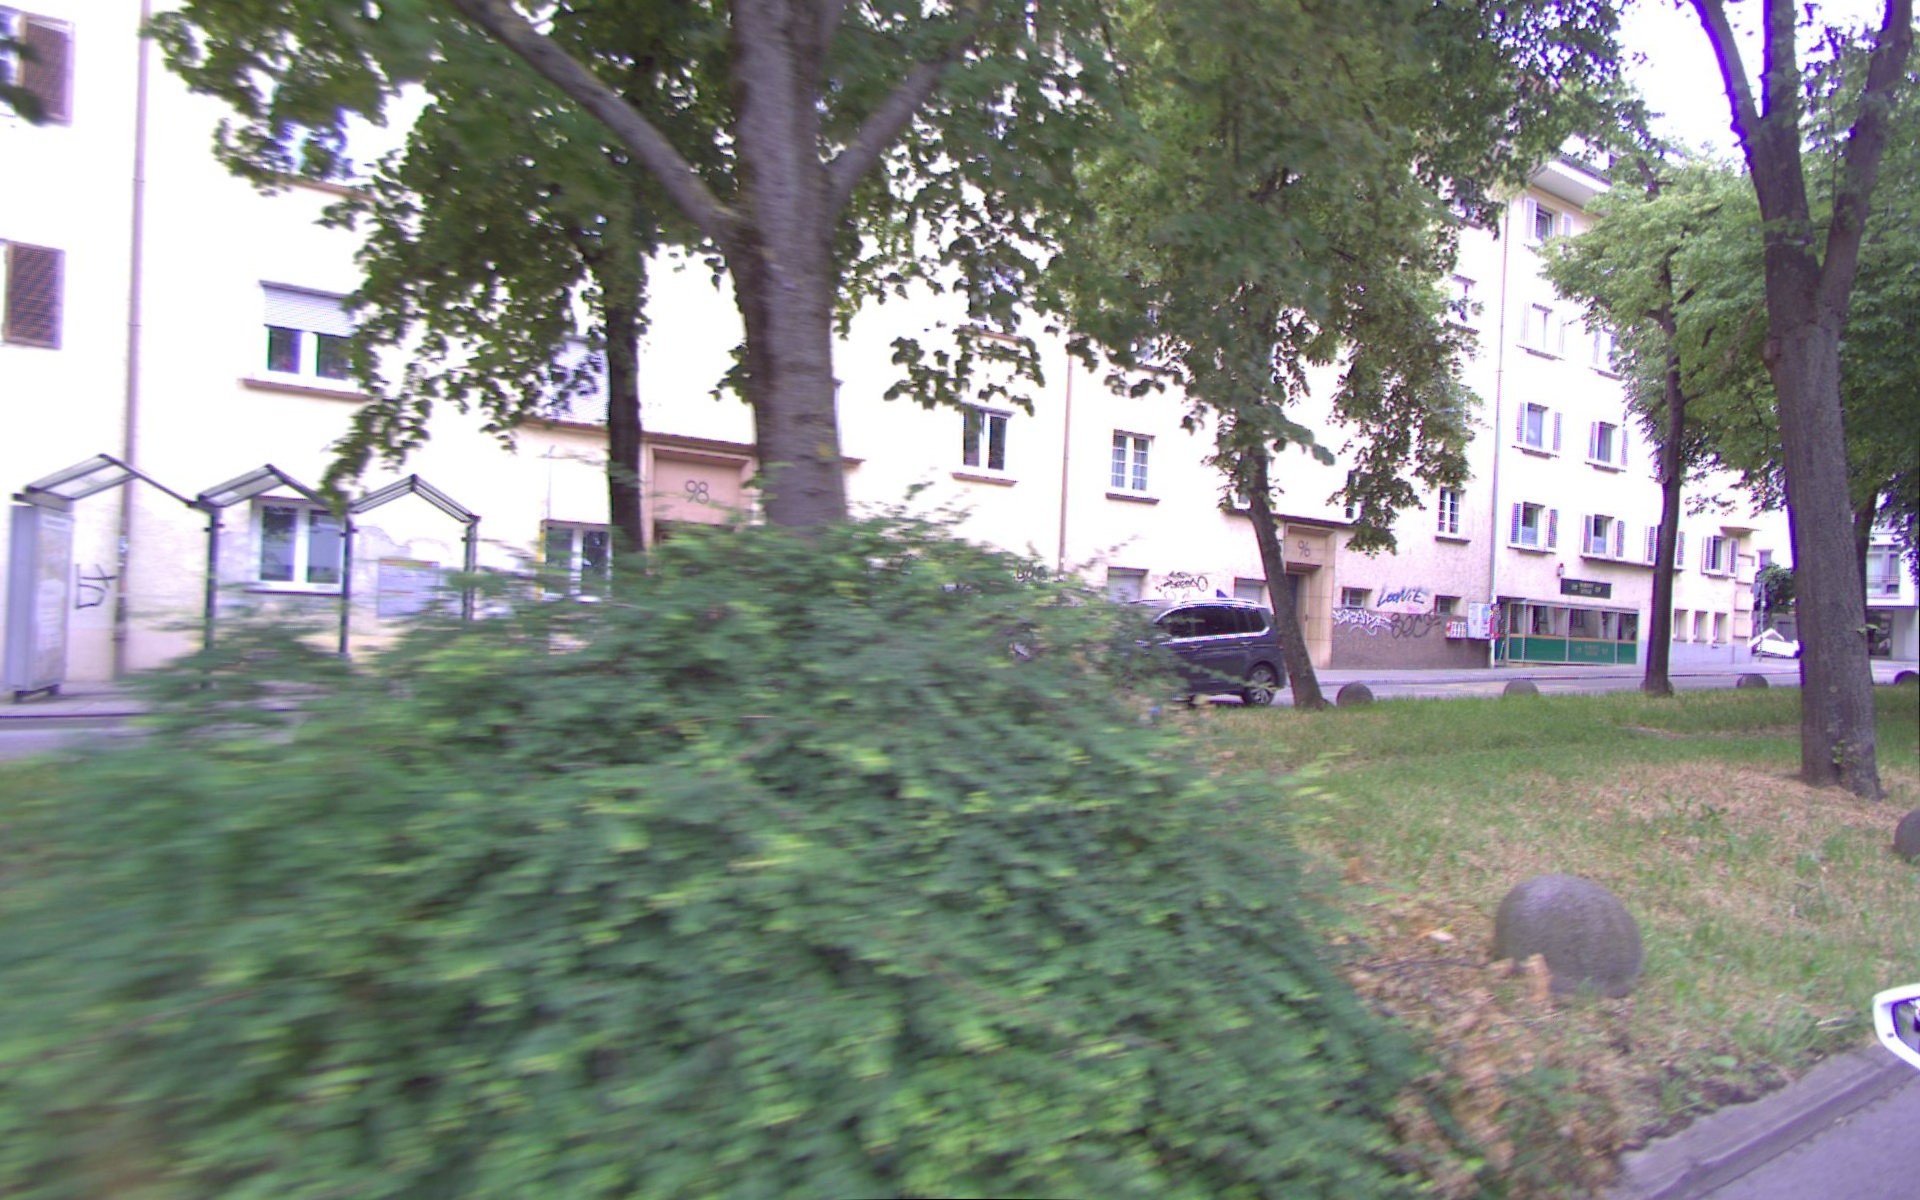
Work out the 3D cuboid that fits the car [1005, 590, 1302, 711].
[{"bbox_3d":[3.041,0.768,15.600,4.311,1.650,1.941,2,-2,-29],"label":"car"}]
